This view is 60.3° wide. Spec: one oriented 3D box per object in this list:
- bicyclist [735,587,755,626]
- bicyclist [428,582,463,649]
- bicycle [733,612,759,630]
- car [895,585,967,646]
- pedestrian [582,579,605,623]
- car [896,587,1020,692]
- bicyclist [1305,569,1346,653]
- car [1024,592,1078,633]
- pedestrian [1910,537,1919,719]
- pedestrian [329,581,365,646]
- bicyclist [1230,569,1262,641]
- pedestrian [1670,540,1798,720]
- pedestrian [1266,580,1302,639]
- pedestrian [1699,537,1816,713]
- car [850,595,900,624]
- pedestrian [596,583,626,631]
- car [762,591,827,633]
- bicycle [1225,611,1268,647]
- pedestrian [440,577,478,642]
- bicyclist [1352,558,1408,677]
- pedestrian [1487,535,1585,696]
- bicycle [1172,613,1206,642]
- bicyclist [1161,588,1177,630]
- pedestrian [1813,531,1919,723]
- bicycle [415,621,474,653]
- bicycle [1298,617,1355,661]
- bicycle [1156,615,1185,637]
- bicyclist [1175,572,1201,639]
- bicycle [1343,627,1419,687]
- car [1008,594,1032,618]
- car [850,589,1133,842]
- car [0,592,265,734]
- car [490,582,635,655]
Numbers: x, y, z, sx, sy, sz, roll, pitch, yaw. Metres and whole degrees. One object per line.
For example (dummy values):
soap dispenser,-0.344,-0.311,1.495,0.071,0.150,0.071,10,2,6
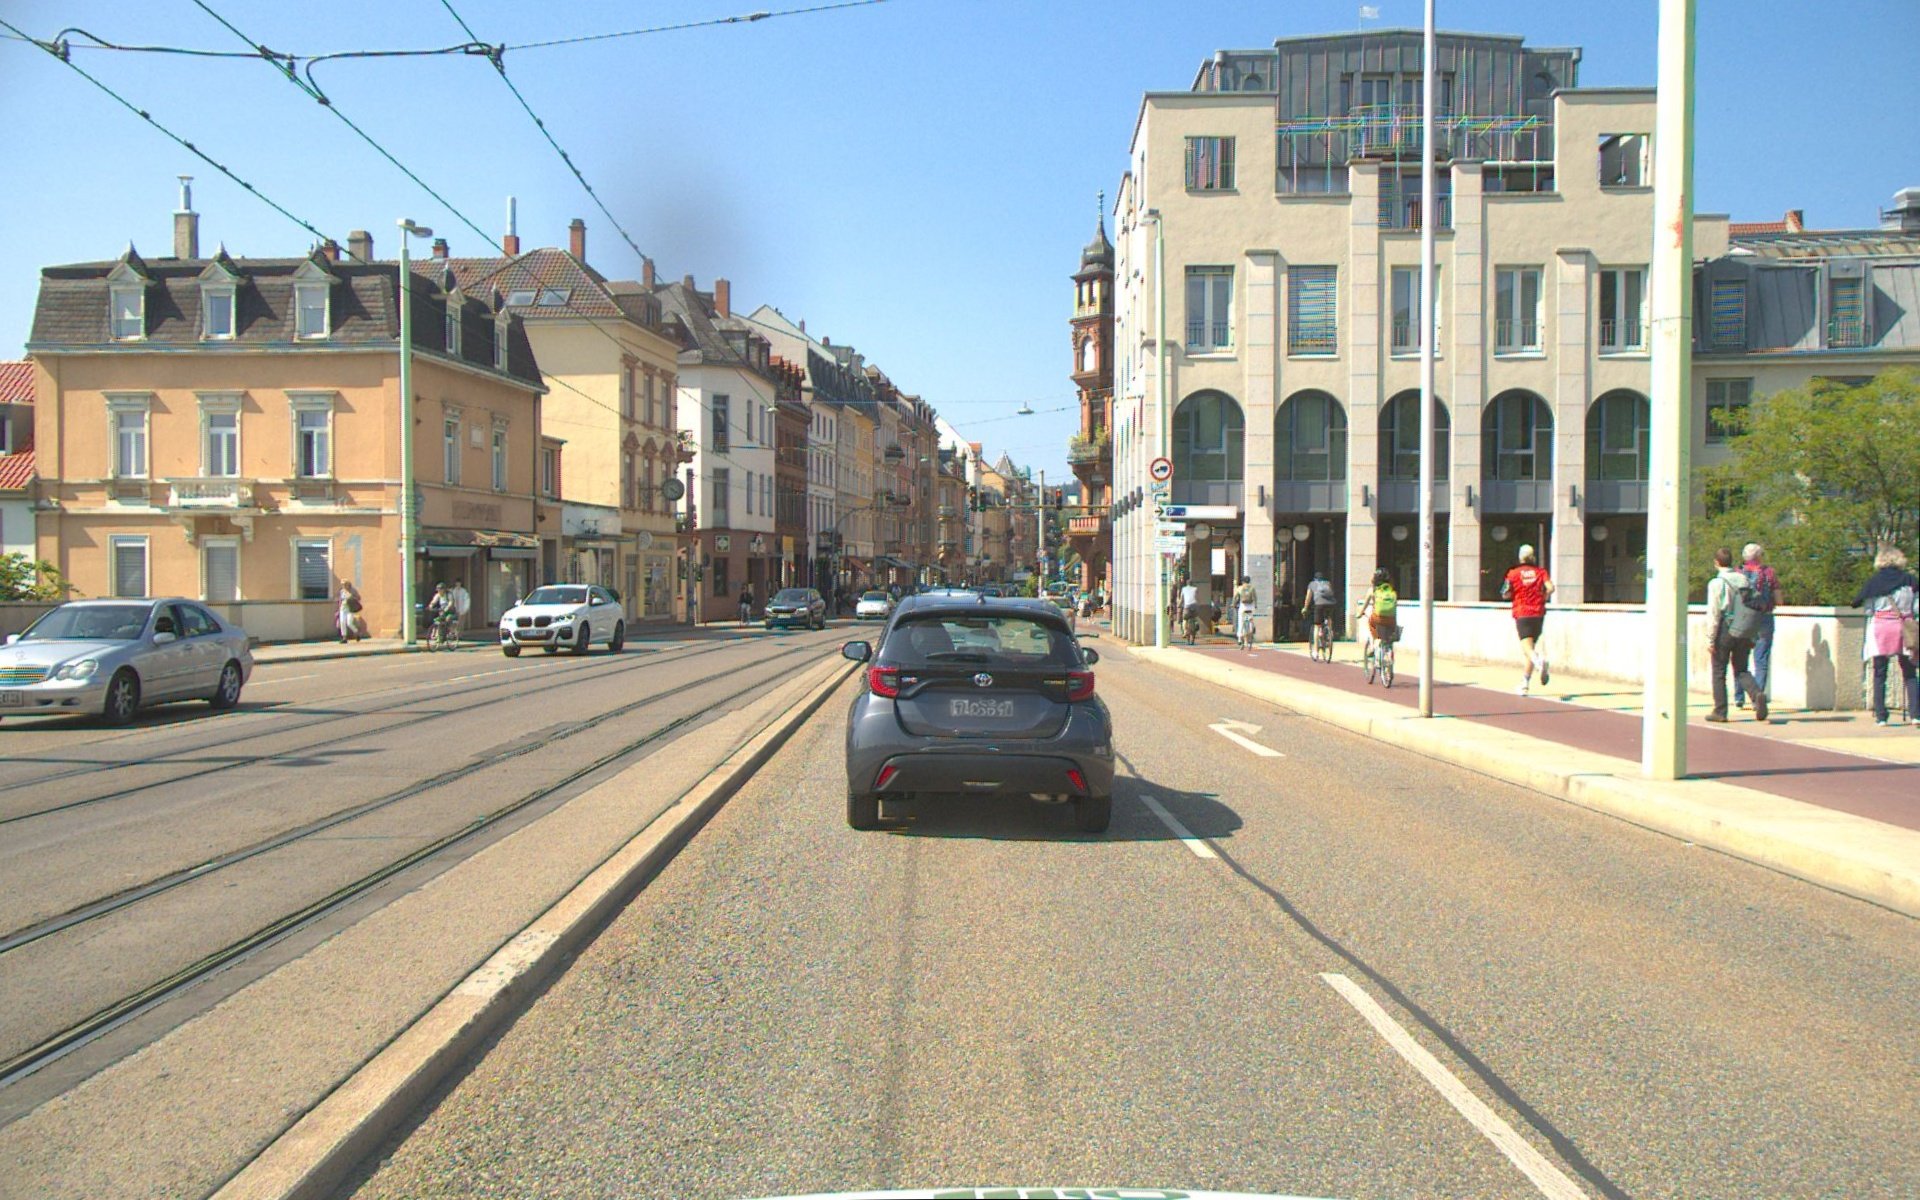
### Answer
bicyclist,-9.553,0.276,73.496,0.690,1.679,0.622,2,1,8
bicyclist,-13.212,0.386,42.497,0.614,1.679,0.622,2,1,8
bicycle,-9.545,0.937,73.764,0.607,0.728,2.047,2,1,8
car,-0.795,0.398,45.318,1.859,1.557,3.999,1,0,-1
pedestrian,-14.289,0.041,64.487,0.636,1.629,0.566,4,2,-1
car,-0.074,0.588,27.220,1.859,1.557,3.999,1,0,-1
bicyclist,6.964,0.206,31.555,0.575,1.586,0.701,-1,0,-3
car,3.435,0.451,63.063,1.671,1.491,4.325,1,0,-1
pedestrian,9.743,0.266,15.774,0.724,1.777,1.015,-2,0,-2
pedestrian,-16.147,0.348,43.596,0.636,1.629,0.566,4,2,-1
bicyclist,6.773,0.120,39.200,0.575,1.679,0.701,-1,0,-3
pedestrian,7.847,0.291,16.818,0.739,1.748,1.073,-2,0,-1
pedestrian,9.421,0.264,48.169,0.724,1.642,1.015,4,0,-1
pedestrian,8.640,0.260,17.958,0.724,1.833,1.015,-2,0,-1
car,-4.391,0.494,85.923,1.951,1.457,4.003,1,0,6
pedestrian,-12.757,0.244,60.408,0.746,1.682,0.712,4,0,9
car,-6.432,0.455,64.553,1.756,1.572,3.923,0,0,6
bicycle,6.782,0.677,39.222,0.582,0.779,1.865,-1,0,-3
pedestrian,-14.365,0.259,47.453,0.721,1.796,0.787,4,0,-1
bicyclist,6.047,0.241,23.837,0.592,1.679,0.702,-1,0,0
pedestrian,7.263,0.185,20.897,0.794,1.958,1.127,-1,0,-1
bicycle,6.408,0.761,46.435,0.582,0.779,1.865,-1,0,-3
bicyclist,7.504,0.310,59.497,0.433,1.492,0.485,-2,0,20
pedestrian,8.981,0.252,16.188,0.724,1.808,1.016,-2,0,3
bicycle,-13.231,0.929,42.483,0.607,0.728,2.047,2,1,8
bicycle,6.969,0.732,31.515,0.582,0.779,1.830,-1,0,-3
bicycle,7.557,0.934,59.483,0.939,0.779,0.418,-2,0,22
bicyclist,6.397,0.146,46.415,0.575,1.852,0.701,-1,0,-3
bicycle,6.054,0.803,23.875,0.581,0.779,1.866,-1,0,-1
car,5.445,0.530,149.594,1.952,2.048,4.002,5,0,4
car,0.152,0.692,11.853,1.685,1.499,3.657,1,0,-1
car,-10.021,0.652,19.629,1.696,1.486,4.373,0,0,0
car,-9.284,0.410,39.038,1.951,1.614,4.655,0,0,5
